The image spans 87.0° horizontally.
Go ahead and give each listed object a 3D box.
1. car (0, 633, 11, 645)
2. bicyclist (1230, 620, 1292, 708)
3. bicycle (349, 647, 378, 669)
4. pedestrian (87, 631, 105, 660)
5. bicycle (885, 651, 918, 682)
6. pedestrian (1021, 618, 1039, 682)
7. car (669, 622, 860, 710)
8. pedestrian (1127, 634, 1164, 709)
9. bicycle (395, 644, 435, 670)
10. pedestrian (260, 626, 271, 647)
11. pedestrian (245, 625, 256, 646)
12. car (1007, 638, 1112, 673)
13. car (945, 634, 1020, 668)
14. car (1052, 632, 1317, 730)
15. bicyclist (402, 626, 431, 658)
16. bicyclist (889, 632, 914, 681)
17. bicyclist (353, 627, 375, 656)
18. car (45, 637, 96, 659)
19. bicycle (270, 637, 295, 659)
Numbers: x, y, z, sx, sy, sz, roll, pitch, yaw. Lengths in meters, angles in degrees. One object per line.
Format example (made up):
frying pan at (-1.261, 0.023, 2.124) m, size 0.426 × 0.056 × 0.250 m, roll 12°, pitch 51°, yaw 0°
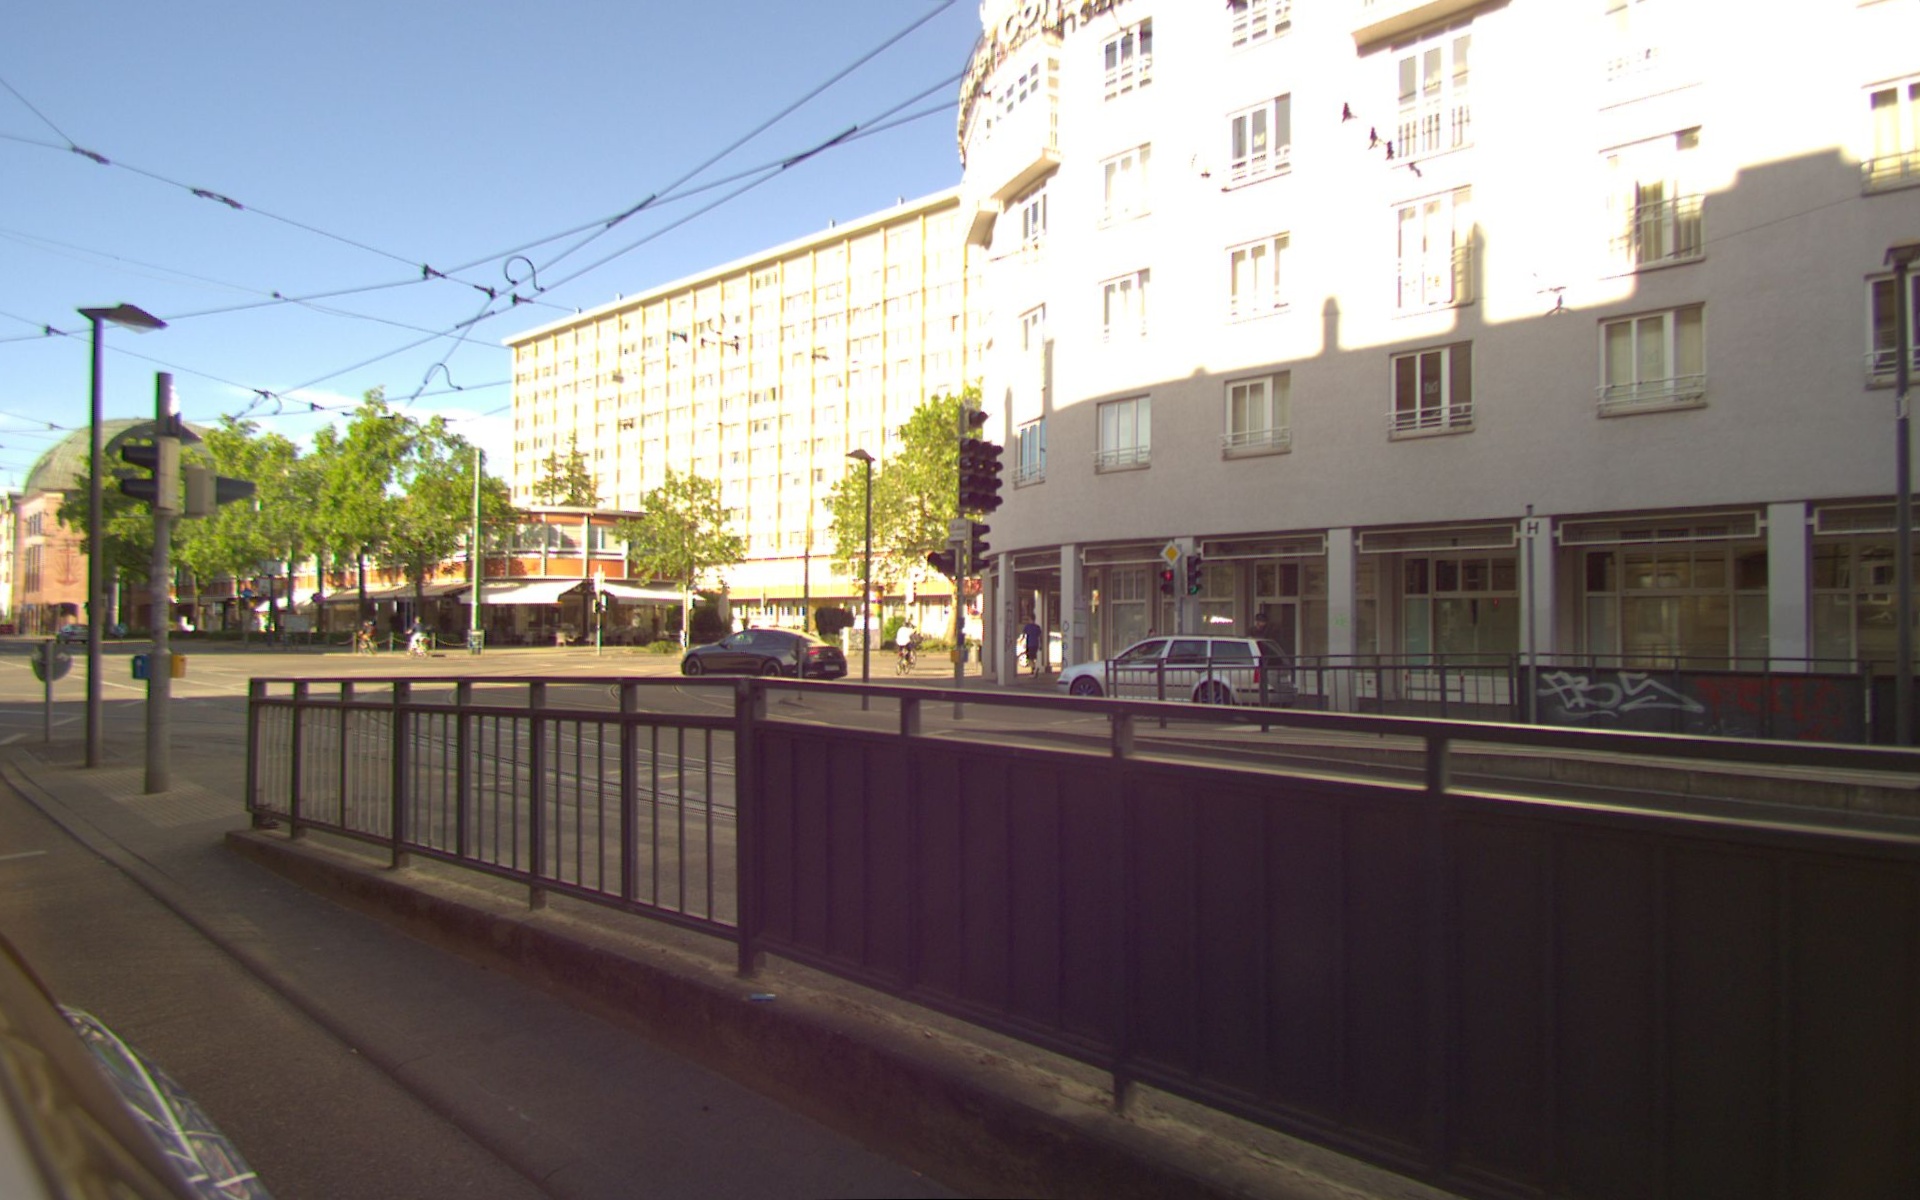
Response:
car at (-117.306, 4.716, 123.502) m, size 3.468 × 1.465 × 1.731 m, roll -1°, pitch -2°, yaw 40°
bicyclist at (6.014, 1.271, 20.264) m, size 0.711 × 1.708 × 1.032 m, roll 2°, pitch -2°, yaw -21°
bicycle at (-28.051, 2.719, 47.581) m, size 1.817 × 0.980 × 0.587 m, roll 0°, pitch -2°, yaw 42°
pedestrian at (-46.854, 2.483, 54.873) m, size 0.858 × 1.529 × 0.494 m, roll -2°, pitch -5°, yaw 41°
bicycle at (-1.948, 2.220, 34.021) m, size 0.589 × 0.980 × 2.040 m, roll 1°, pitch -2°, yaw 12°
pedestrian at (2.036, 1.447, 29.333) m, size 0.456 × 1.847 × 0.744 m, roll -1°, pitch -3°, yaw 7°
car at (-4.854, 1.541, 24.829) m, size 4.605 × 1.925 × 2.204 m, roll -1°, pitch -3°, yaw 40°
pedestrian at (3.899, 1.500, 21.282) m, size 0.675 × 1.546 × 0.442 m, roll -1°, pitch -3°, yaw 4°
bicycle at (-22.746, 2.373, 42.250) m, size 1.848 × 0.980 × 0.589 m, roll 1°, pitch -2°, yaw 32°
pedestrian at (-59.917, 3.130, 87.252) m, size 0.706 × 1.764 × 0.566 m, roll -1°, pitch -4°, yaw 42°
pedestrian at (-60.650, 3.004, 86.467) m, size 0.706 × 1.785 × 0.566 m, roll -1°, pitch -4°, yaw 42°
car at (4.200, 2.355, 42.908) m, size 4.082 × 1.414 × 1.787 m, roll -2°, pitch -3°, yaw 27°
car at (1.198, 2.603, 51.722) m, size 1.995 × 1.608 × 3.954 m, roll 1°, pitch -2°, yaw 33°
car at (3.965, 1.371, 18.286) m, size 4.401 × 1.526 × 1.711 m, roll -1°, pitch -3°, yaw 40°
bicyclist at (-22.678, 1.749, 42.223) m, size 0.989 × 1.295 × 0.584 m, roll 1°, pitch -2°, yaw 31°
bicyclist at (-1.962, 1.884, 33.884) m, size 0.584 × 1.597 × 0.892 m, roll 1°, pitch -2°, yaw 12°
bicyclist at (-28.005, 1.950, 47.555) m, size 0.926 × 1.295 × 0.582 m, roll 0°, pitch -3°, yaw 41°
car at (-63.162, 3.380, 71.814) m, size 4.645 × 1.462 × 1.974 m, roll -1°, pitch -3°, yaw 39°
bicycle at (-37.038, 2.613, 55.319) m, size 2.233 × 1.195 × 0.492 m, roll -1°, pitch -3°, yaw 40°
